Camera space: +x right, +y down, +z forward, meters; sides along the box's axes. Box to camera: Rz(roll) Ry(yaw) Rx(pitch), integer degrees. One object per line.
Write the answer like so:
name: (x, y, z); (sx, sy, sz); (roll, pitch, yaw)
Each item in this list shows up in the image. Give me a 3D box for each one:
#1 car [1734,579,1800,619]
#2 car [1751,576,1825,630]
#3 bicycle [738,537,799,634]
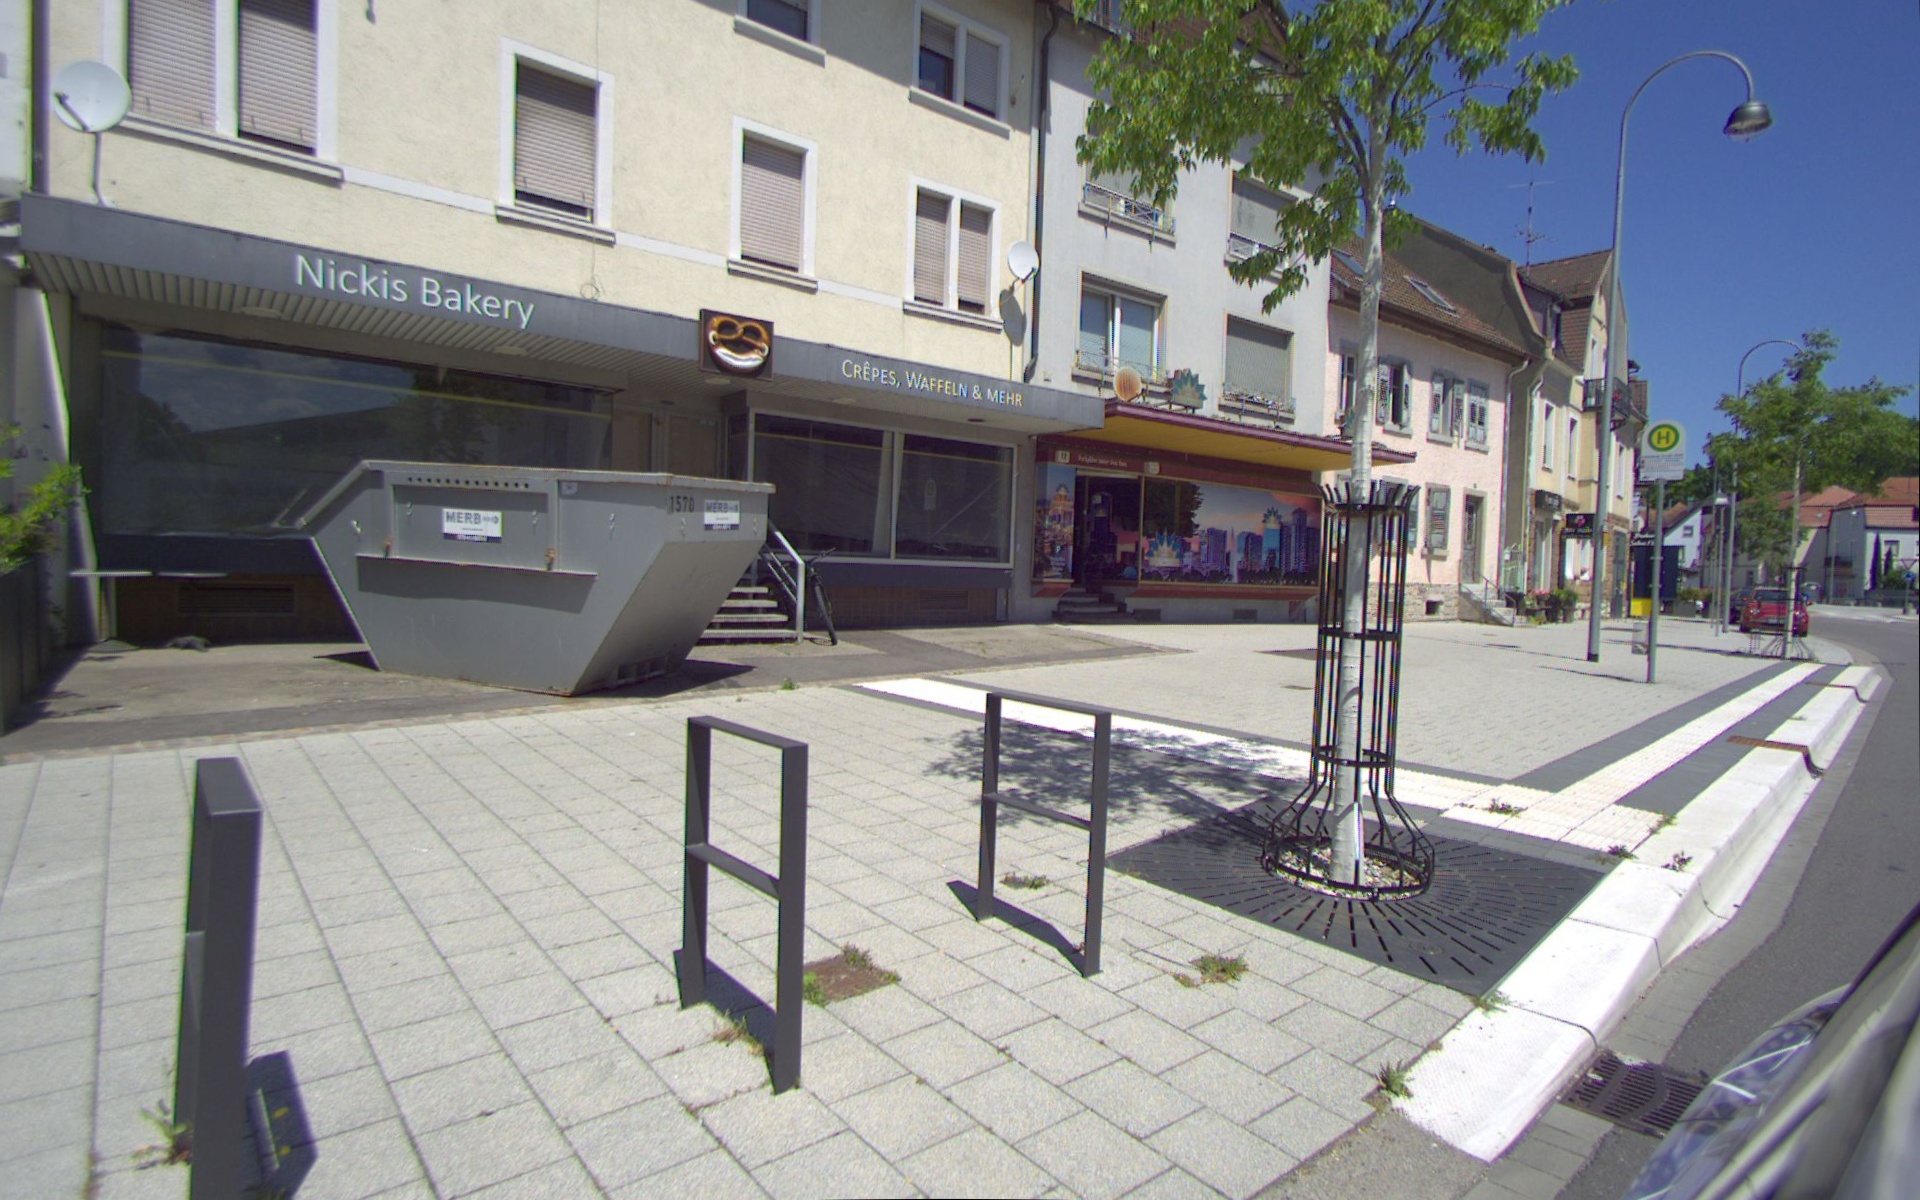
car: (34.096, -0.095, 42.843); (1.725, 1.490, 4.271); (5, 4, 34)
car: (26.457, 0.061, 32.347); (1.677, 1.532, 3.338); (5, 3, 40)
bicycle: (-2.498, -0.190, 13.128); (0.406, 1.199, 1.275); (-1, 1, -28)
